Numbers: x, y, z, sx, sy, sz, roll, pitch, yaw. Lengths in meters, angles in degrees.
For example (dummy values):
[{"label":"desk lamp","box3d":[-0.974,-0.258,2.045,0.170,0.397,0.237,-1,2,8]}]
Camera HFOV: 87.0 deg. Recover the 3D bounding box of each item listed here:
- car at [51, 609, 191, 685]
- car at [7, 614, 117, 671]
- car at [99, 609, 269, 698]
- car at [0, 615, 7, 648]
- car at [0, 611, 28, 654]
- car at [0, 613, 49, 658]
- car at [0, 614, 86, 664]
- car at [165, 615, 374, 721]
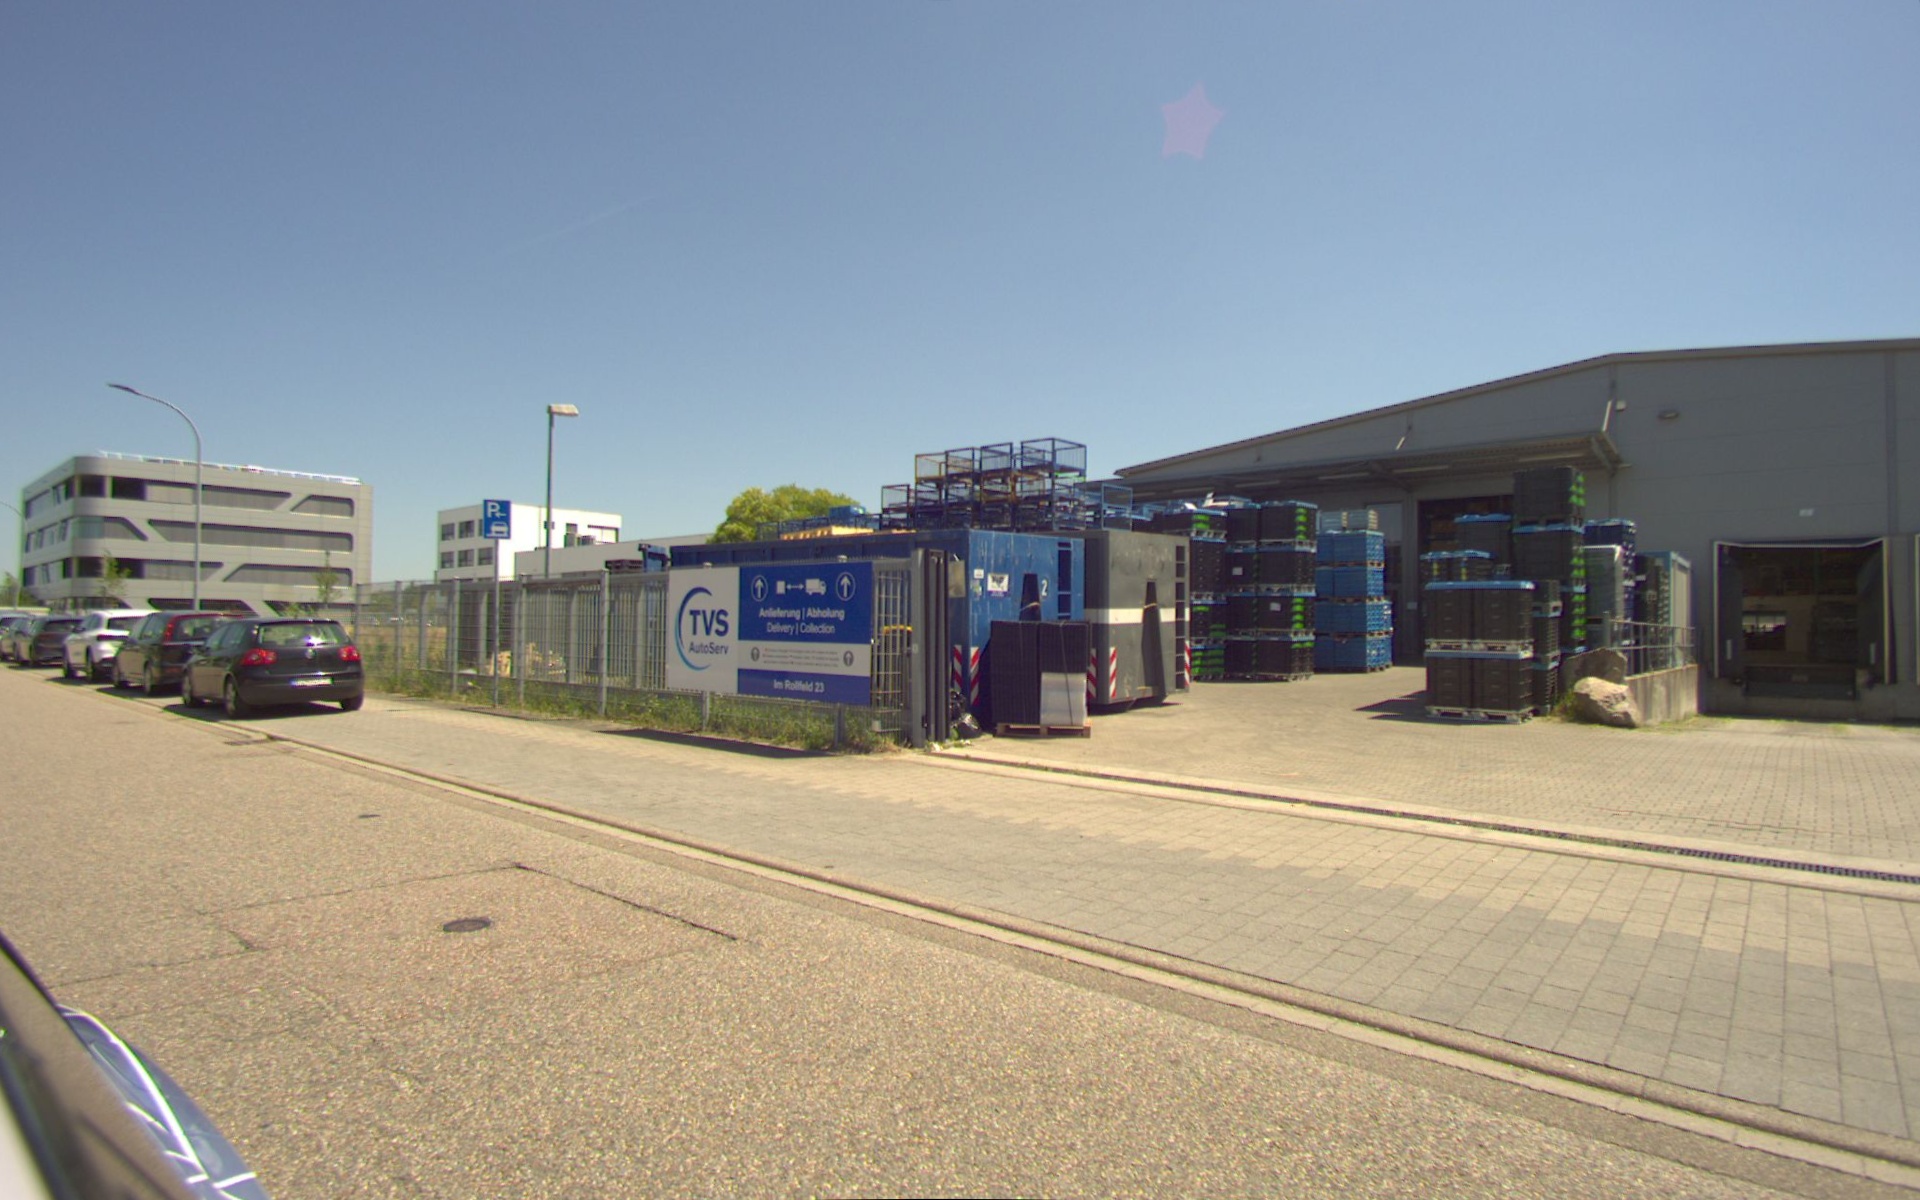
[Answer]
[{"label":"car","box3d":[-19.441,1.010,23.389,4.356,1.604,1.751,-1,-1,40]},{"label":"car","box3d":[-25.990,1.173,29.244,4.227,1.492,1.838,-1,-1,41]},{"label":"car","box3d":[-15.493,0.979,20.109,4.497,1.568,1.751,-1,-1,40]},{"label":"car","box3d":[-44.558,1.427,45.610,4.195,1.462,1.746,-1,-1,38]},{"label":"car","box3d":[-38.089,1.246,39.637,4.459,1.619,1.772,-1,-1,40]},{"label":"car","box3d":[-34.100,1.231,36.281,3.732,1.537,1.676,-1,-1,40]},{"label":"car","box3d":[-30.029,1.218,32.881,4.812,1.492,1.757,-1,-1,40]},{"label":"car","box3d":[-11.196,0.983,16.294,4.331,1.472,1.750,-1,-1,41]}]
